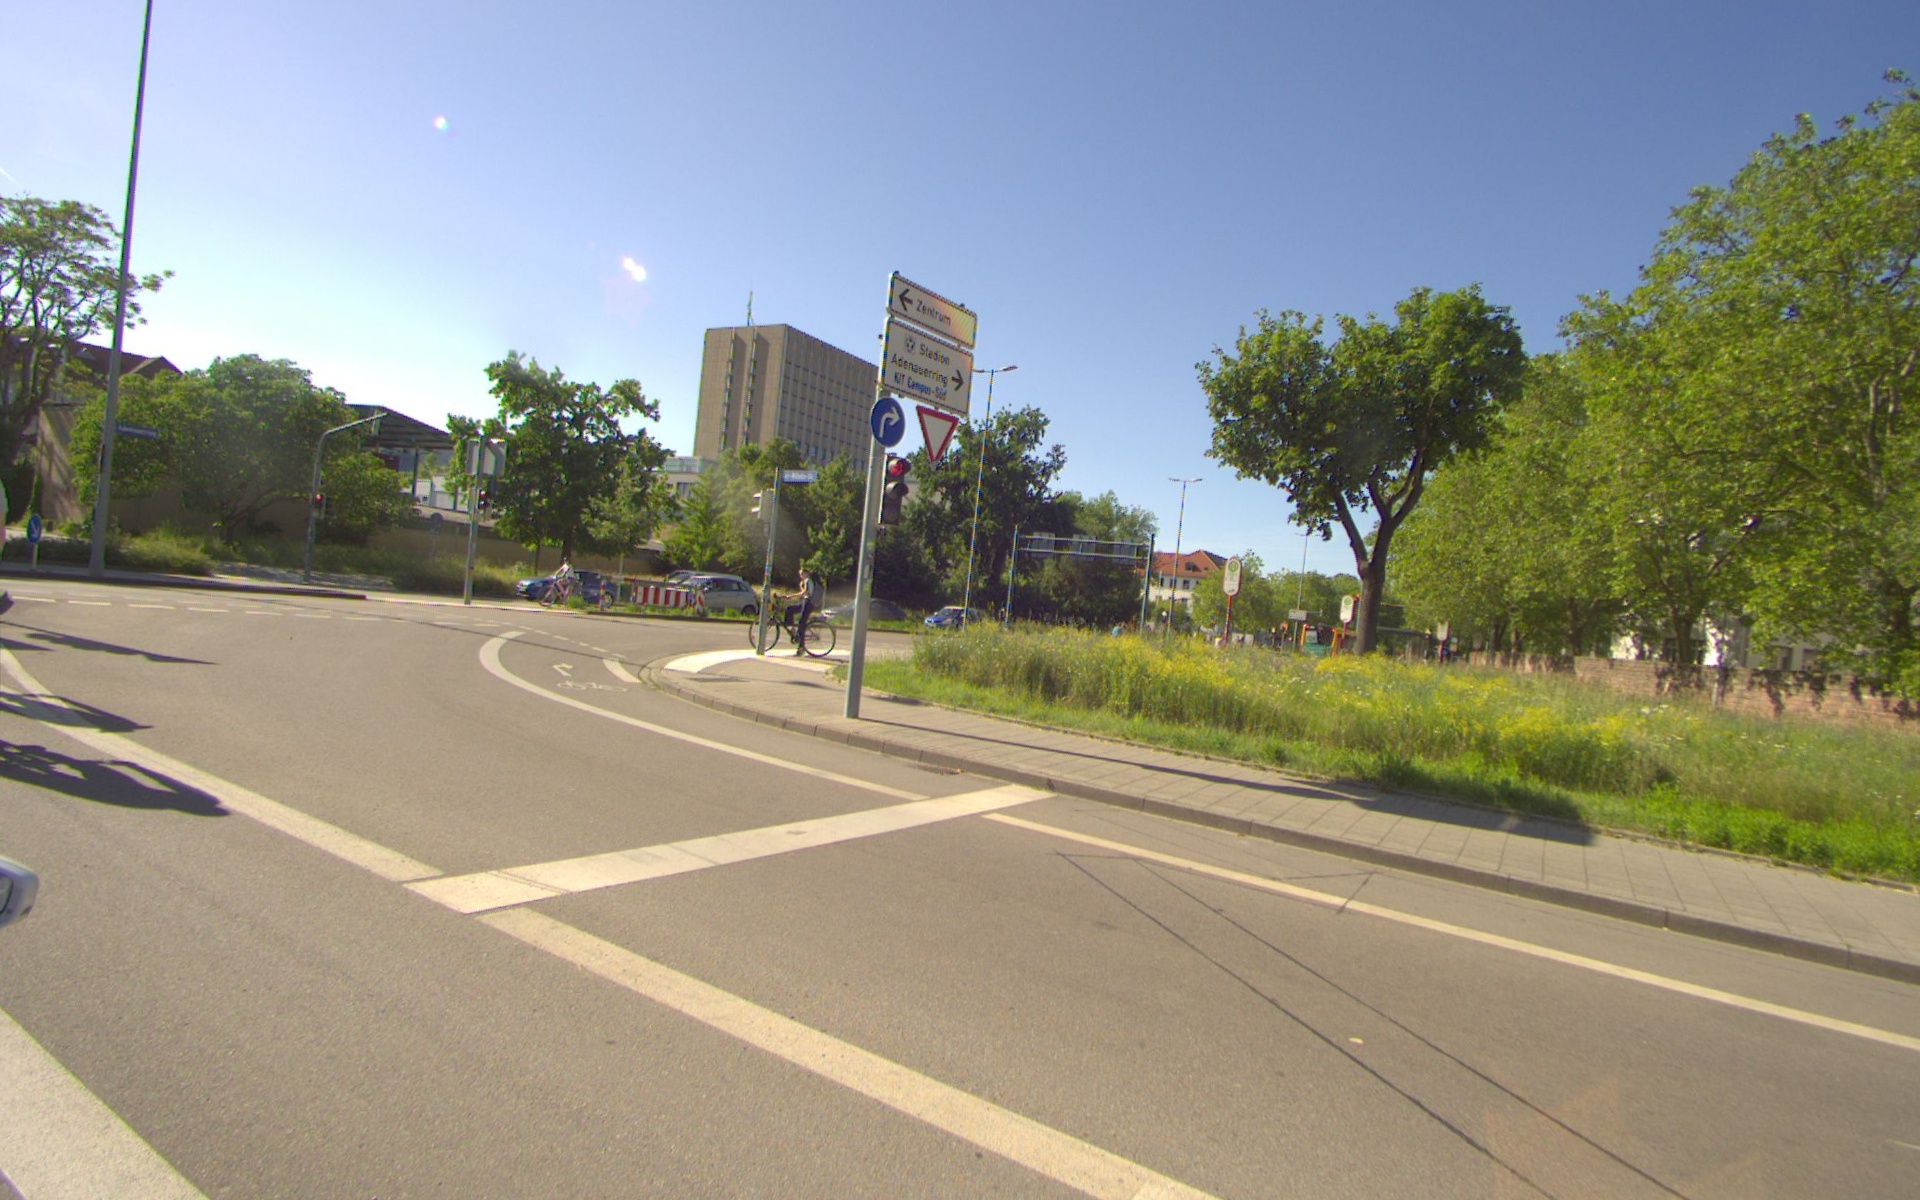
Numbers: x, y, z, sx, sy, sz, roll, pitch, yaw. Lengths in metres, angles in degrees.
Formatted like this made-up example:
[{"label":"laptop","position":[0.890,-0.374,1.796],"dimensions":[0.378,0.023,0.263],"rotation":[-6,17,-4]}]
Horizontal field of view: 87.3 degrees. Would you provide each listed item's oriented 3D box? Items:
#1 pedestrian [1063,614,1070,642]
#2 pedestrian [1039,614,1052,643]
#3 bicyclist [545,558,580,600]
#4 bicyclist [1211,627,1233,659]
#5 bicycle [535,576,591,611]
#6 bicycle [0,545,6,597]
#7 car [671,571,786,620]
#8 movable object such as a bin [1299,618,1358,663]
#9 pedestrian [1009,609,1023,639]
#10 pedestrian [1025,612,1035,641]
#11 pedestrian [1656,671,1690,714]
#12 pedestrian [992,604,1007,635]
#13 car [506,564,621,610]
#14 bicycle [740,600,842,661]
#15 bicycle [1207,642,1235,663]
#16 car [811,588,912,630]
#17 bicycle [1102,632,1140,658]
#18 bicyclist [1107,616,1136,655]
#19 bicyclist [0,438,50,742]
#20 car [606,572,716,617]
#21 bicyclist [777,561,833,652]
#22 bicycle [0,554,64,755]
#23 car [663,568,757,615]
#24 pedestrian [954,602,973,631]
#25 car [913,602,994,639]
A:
[{"label":"pedestrian","position":[9.401,2.512,88.856],"dimensions":[0.267,2.451,0.300],"rotation":[6,-1,34]},{"label":"pedestrian","position":[7.387,2.475,87.014],"dimensions":[0.710,2.451,0.585],"rotation":[6,-1,34]},{"label":"bicyclist","position":[-13.937,-0.724,35.279],"dimensions":[0.602,1.360,0.874],"rotation":[7,1,37]},{"label":"bicyclist","position":[13.254,2.180,50.852],"dimensions":[0.509,1.548,1.067],"rotation":[7,2,39]},{"label":"bicycle","position":[-13.938,-0.229,35.356],"dimensions":[0.602,1.046,1.681],"rotation":[7,0,37]},{"label":"bicycle","position":[-8.198,0.023,7.753],"dimensions":[1.890,1.102,0.690],"rotation":[6,-1,32]},{"label":"car","position":[-8.741,-0.131,38.286],"dimensions":[1.767,1.415,3.986],"rotation":[7,0,37]},{"label":"movable object such as a bin","position":[28.212,3.143,76.766],"dimensions":[2.954,2.898,9.178],"rotation":[6,0,27]},{"label":"pedestrian","position":[4.716,2.033,84.788],"dimensions":[0.655,2.451,0.613],"rotation":[6,-1,34]},{"label":"pedestrian","position":[6.018,2.273,86.493],"dimensions":[0.401,2.451,0.467],"rotation":[6,-1,34]},{"label":"pedestrian","position":[25.910,3.353,36.582],"dimensions":[0.712,1.460,0.523],"rotation":[7,-1,2]},{"label":"pedestrian","position":[3.246,1.610,82.133],"dimensions":[0.660,2.451,0.770],"rotation":[6,-1,34]},{"label":"car","position":[-16.212,-0.527,41.315],"dimensions":[1.767,1.415,3.986],"rotation":[7,0,37]},{"label":"bicycle","position":[-3.293,0.590,19.674],"dimensions":[1.856,0.970,0.635],"rotation":[7,1,-10]},{"label":"bicycle","position":[13.199,2.662,50.856],"dimensions":[0.514,1.000,1.965],"rotation":[7,1,39]},{"label":"car","position":[-4.311,0.434,44.626],"dimensions":[1.767,1.415,4.557],"rotation":[7,0,37]},{"label":"bicycle","position":[6.663,1.861,41.534],"dimensions":[0.640,0.986,1.895],"rotation":[7,1,39]},{"label":"bicyclist","position":[6.653,1.457,41.460],"dimensions":[0.632,1.533,1.049],"rotation":[7,2,39]},{"label":"bicyclist","position":[-6.312,-0.118,6.146],"dimensions":[1.123,1.813,0.684],"rotation":[7,0,32]},{"label":"car","position":[-12.301,-0.201,41.567],"dimensions":[1.767,1.415,3.986],"rotation":[7,0,37]},{"label":"bicyclist","position":[-3.039,0.123,19.702],"dimensions":[0.898,1.667,0.630],"rotation":[6,1,-9]},{"label":"bicycle","position":[-6.296,0.236,6.107],"dimensions":[1.890,1.102,0.690],"rotation":[6,-1,32]},{"label":"car","position":[-11.844,-0.368,47.792],"dimensions":[1.767,1.771,3.986],"rotation":[7,0,37]},{"label":"pedestrian","position":[0.277,1.284,78.053],"dimensions":[0.752,2.039,1.267],"rotation":[7,1,36]},{"label":"car","position":[-0.296,1.049,50.453],"dimensions":[1.916,1.415,3.986],"rotation":[6,0,37]}]
